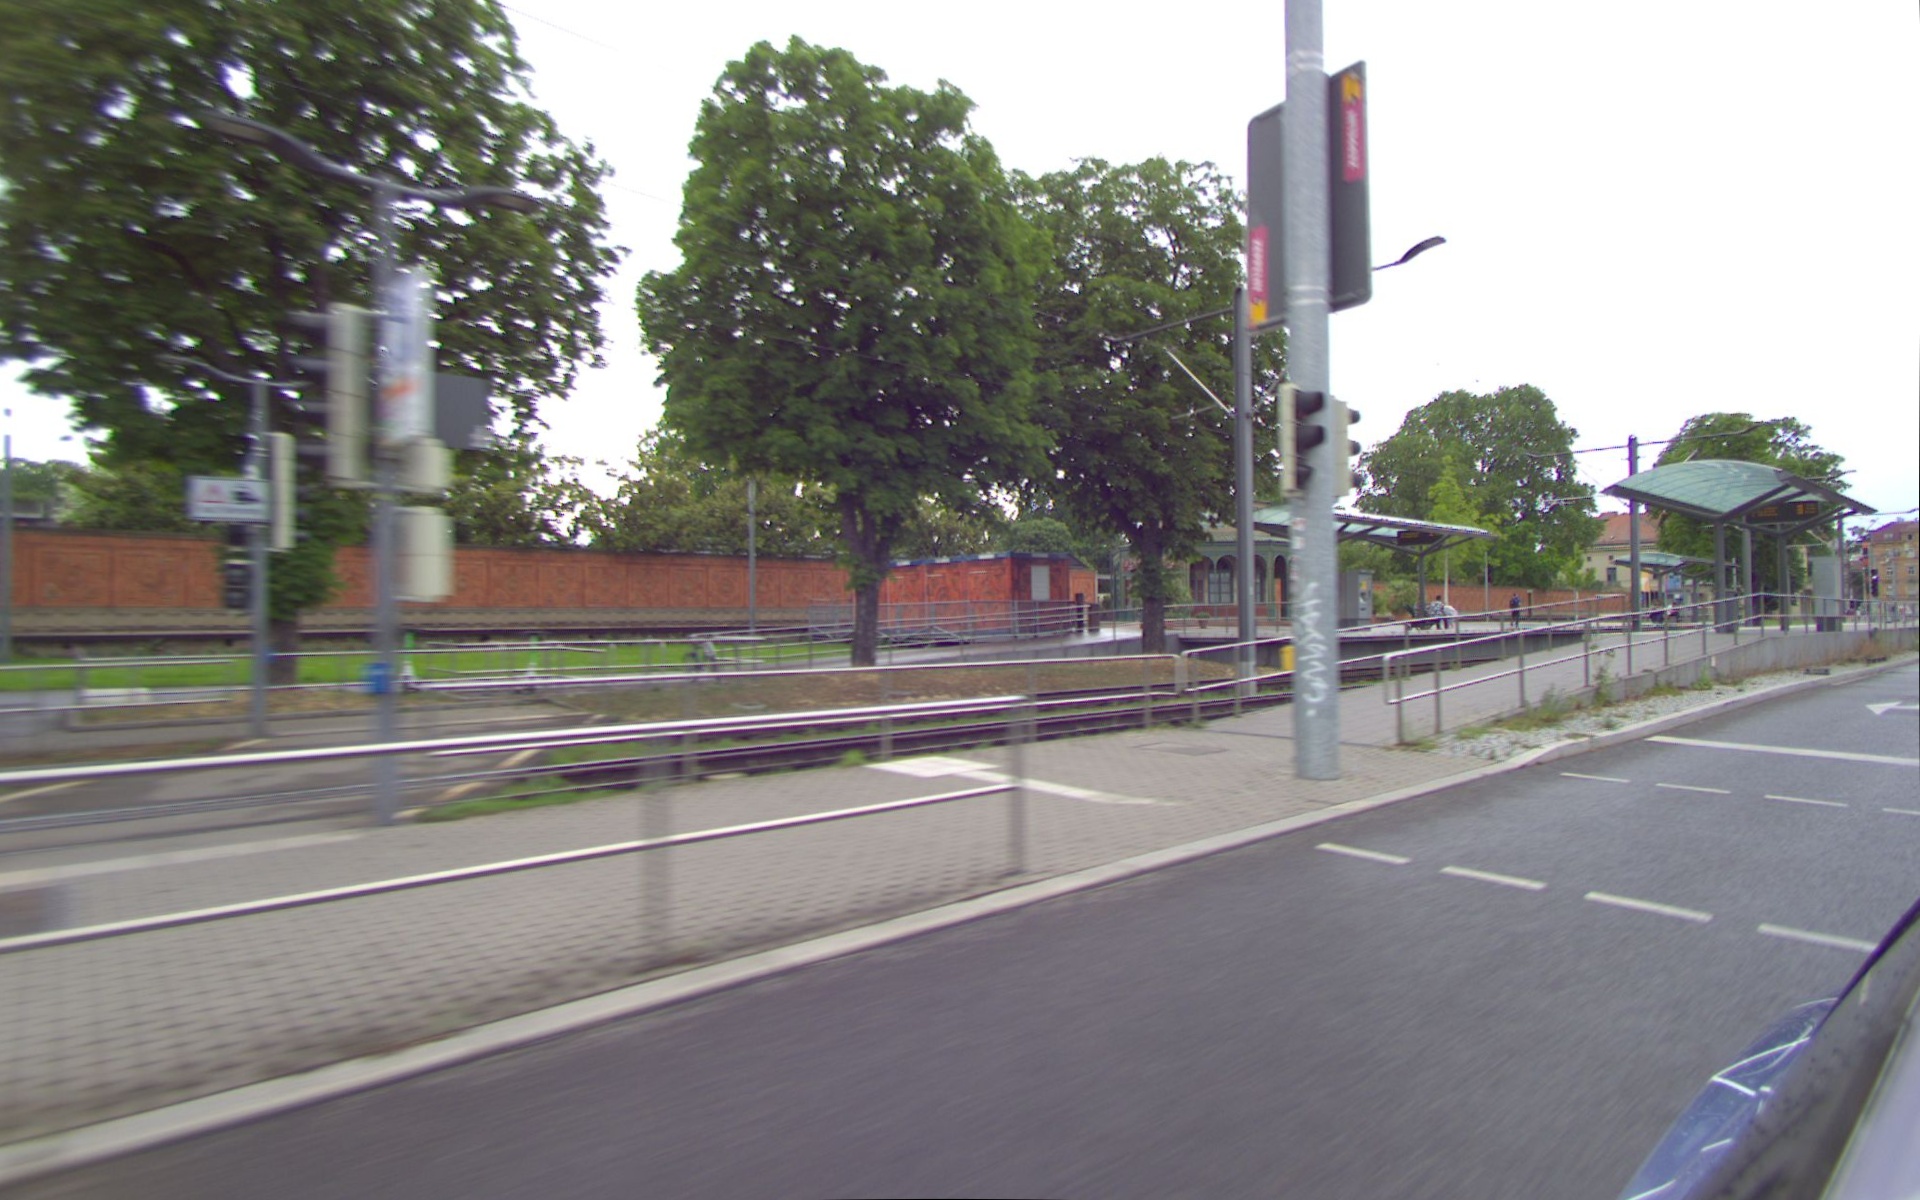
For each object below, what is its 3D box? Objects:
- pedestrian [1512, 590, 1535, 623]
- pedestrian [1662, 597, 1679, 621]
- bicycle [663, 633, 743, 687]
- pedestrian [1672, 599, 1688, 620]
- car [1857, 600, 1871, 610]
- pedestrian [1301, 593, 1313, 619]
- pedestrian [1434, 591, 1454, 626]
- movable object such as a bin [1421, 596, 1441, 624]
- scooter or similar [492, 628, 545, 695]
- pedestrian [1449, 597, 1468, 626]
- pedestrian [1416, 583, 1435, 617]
[{"bbox_3d":[30.794,0.360,55.274,1.161,1.813,0.722,1,-1,-40],"label":"pedestrian"},{"bbox_3d":[38.970,0.485,55.509,0.770,1.228,0.518,-1,-5,-45],"label":"pedestrian"},{"bbox_3d":[-5.220,1.190,20.458,0.560,0.969,2.325,1,-1,-41],"label":"bicycle"},{"bbox_3d":[39.466,0.529,55.504,0.597,1.134,0.514,-7,-5,34],"label":"pedestrian"},{"bbox_3d":[164.113,0.903,183.635,1.825,1.603,3.938,-2,-1,43],"label":"car"},{"bbox_3d":[22.033,0.388,64.223,0.460,1.678,0.552,-2,-2,-6],"label":"pedestrian"},{"bbox_3d":[17.335,0.297,36.255,0.541,1.241,0.438,0,-1,-40],"label":"pedestrian"},{"bbox_3d":[17.548,0.371,37.704,0.670,1.022,0.438,0,-1,-40],"label":"movable object such as a bin"},{"bbox_3d":[-8.086,1.103,18.518,0.424,1.151,1.545,1,-1,-41],"label":"scooter or similar"},{"bbox_3d":[18.125,0.417,36.779,0.541,1.021,0.438,0,-1,-40],"label":"pedestrian"},{"bbox_3d":[16.834,-0.004,36.585,0.541,1.241,0.438,0,-1,-40],"label":"pedestrian"}]
